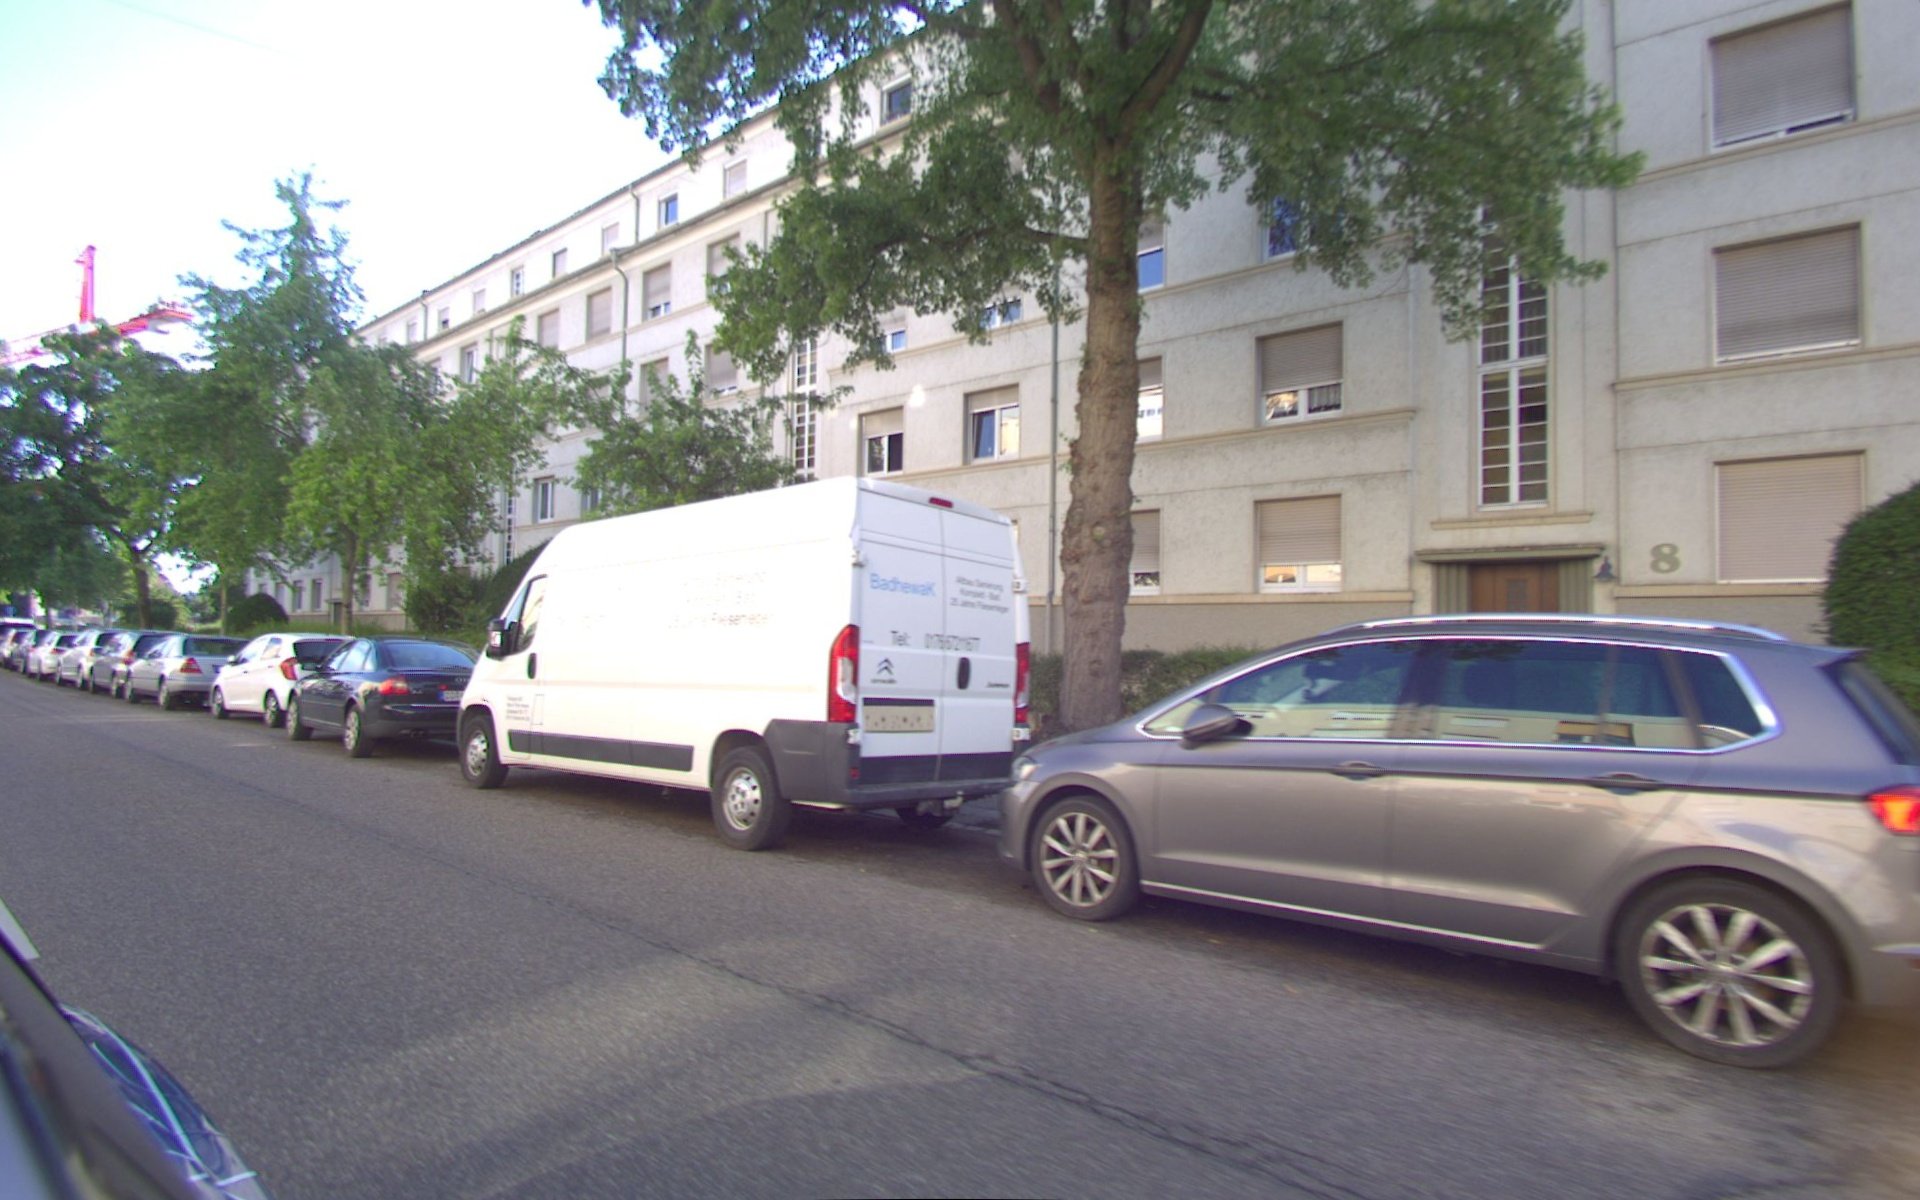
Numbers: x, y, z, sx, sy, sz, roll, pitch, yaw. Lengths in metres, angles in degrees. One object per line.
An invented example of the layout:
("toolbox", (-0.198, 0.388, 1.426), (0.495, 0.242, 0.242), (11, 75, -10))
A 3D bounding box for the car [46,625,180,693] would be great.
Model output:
("car", (-22.112, 1.514, 26.393), (3.996, 1.564, 1.855), (0, -5, 39))

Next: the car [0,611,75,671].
("car", (-34.117, 1.482, 37.056), (3.998, 2.029, 1.972), (0, -4, 41))

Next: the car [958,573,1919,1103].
("car", (2.281, 0.771, 4.817), (4.344, 1.570, 1.936), (0, -4, 41))

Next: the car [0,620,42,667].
("car", (-38.549, 1.697, 40.572), (4.684, 1.772, 1.855), (0, -1, 39))

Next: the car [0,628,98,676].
("car", (-30.824, 1.715, 34.112), (4.799, 1.445, 1.855), (0, -2, 39))

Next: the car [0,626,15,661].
("car", (-46.277, 2.053, 47.789), (3.996, 1.563, 1.855), (0, 1, 39))

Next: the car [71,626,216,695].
("car", (-18.975, 1.340, 23.467), (3.996, 1.366, 1.855), (0, 0, 40))

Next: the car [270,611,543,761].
("car", (-7.078, 1.018, 12.812), (3.817, 1.586, 1.689), (0, -6, 41))

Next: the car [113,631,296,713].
("car", (-15.026, 1.337, 20.033), (4.649, 1.366, 1.855), (0, -1, 40))

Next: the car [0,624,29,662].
("car", (-42.902, 1.902, 44.883), (3.996, 1.564, 1.855), (0, 0, 40))

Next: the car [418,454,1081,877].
("car", (-2.193, 0.457, 8.825), (6.162, 2.464, 2.333), (0, -4, 41))

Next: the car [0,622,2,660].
("car", (-49.923, 2.079, 51.136), (4.486, 1.910, 1.822), (0, 3, 42))

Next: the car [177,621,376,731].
("car", (-11.239, 1.222, 16.604), (3.257, 1.586, 1.690), (-1, -7, 39))

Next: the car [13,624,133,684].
("car", (-26.219, 1.531, 29.863), (4.467, 1.564, 1.984), (0, 0, 40))
